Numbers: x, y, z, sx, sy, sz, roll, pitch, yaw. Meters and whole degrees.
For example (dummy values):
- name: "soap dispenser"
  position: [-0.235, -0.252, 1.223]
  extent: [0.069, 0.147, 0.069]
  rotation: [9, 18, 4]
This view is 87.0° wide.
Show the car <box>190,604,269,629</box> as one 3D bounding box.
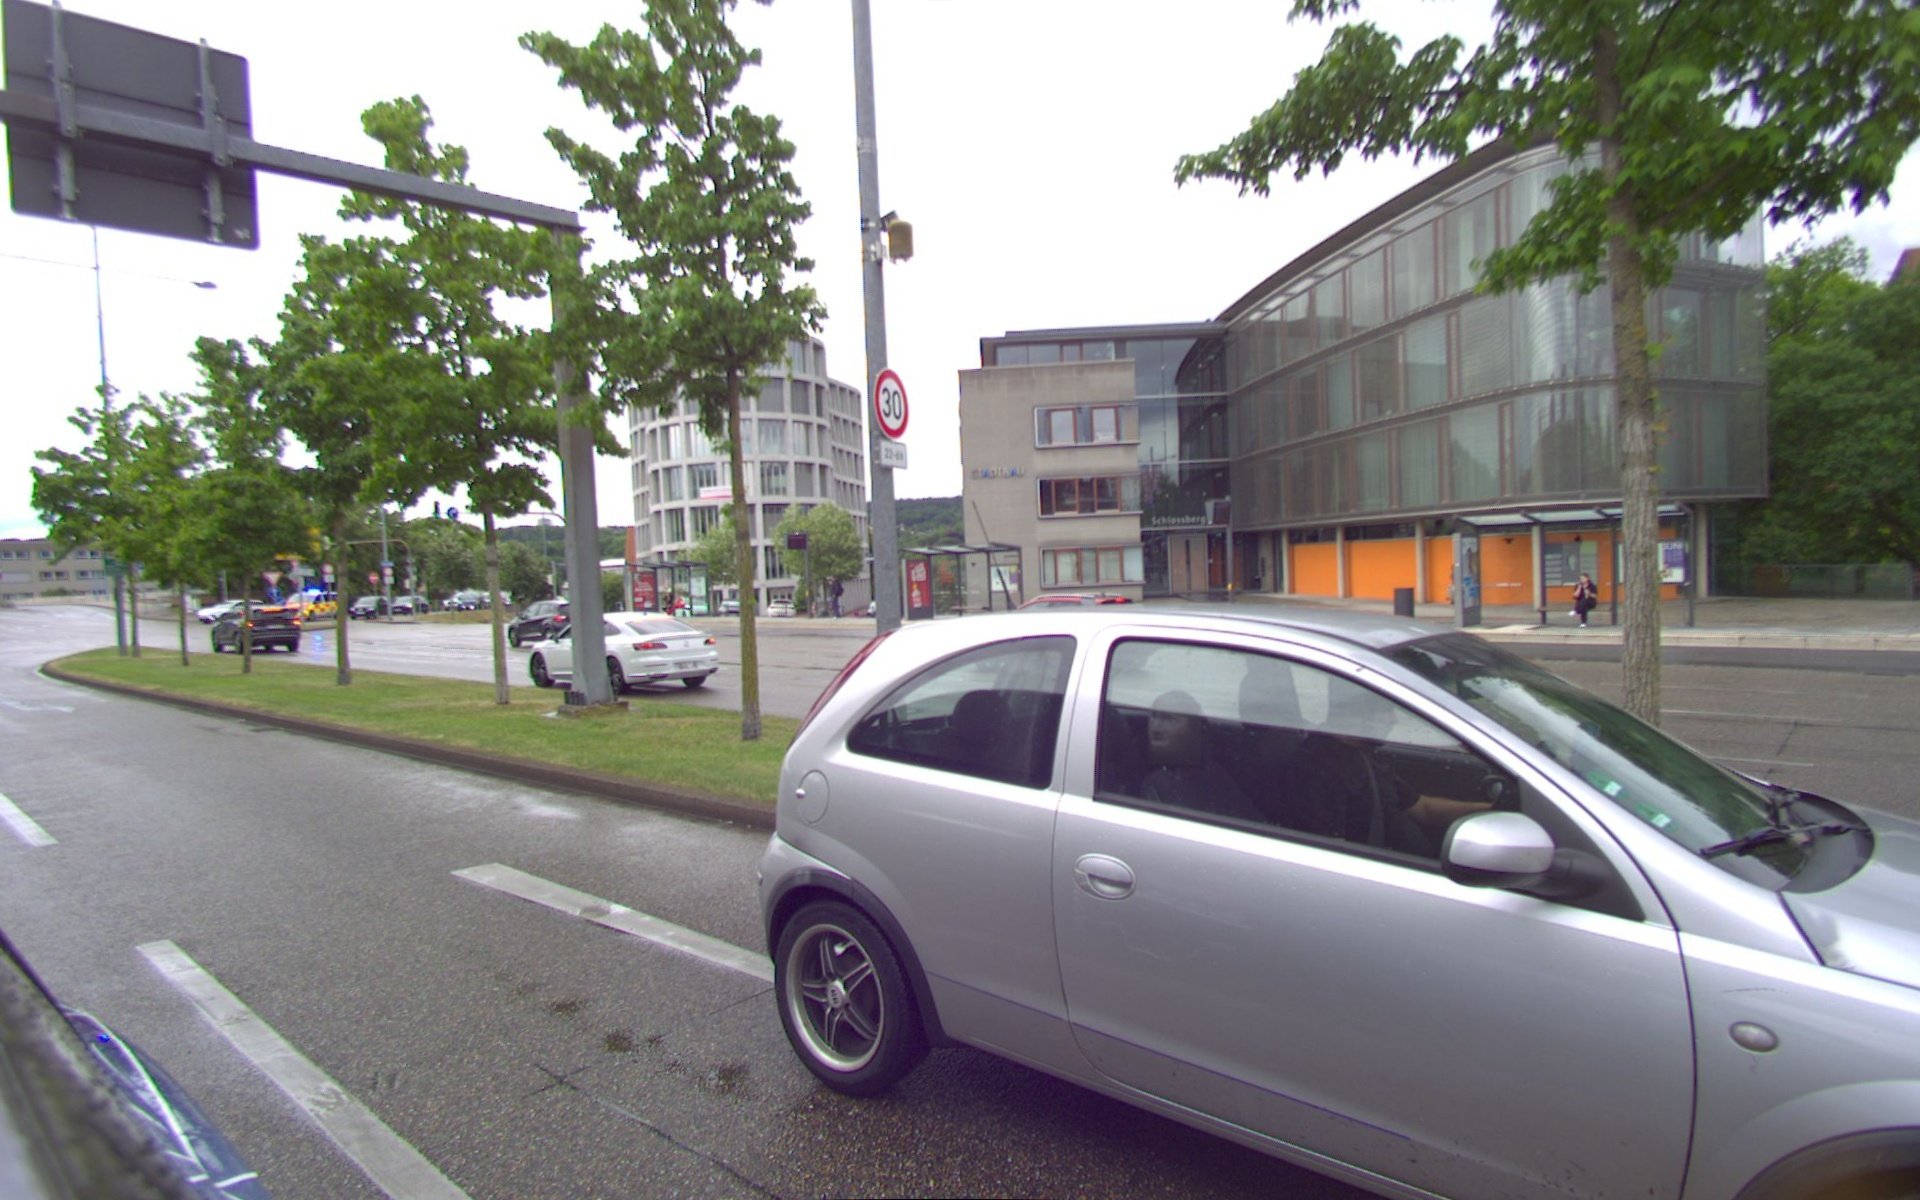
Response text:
- name: "car"
  position: [-48.874, 1.108, 67.822]
  extent: [1.797, 1.571, 4.027]
  rotation: [-1, 0, 17]

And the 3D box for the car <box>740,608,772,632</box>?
- name: "car"
  position: [-15.527, 1.519, 77.256]
  extent: [1.849, 1.715, 4.161]
  rotation: [-1, 0, -4]

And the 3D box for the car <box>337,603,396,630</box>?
- name: "car"
  position: [-40.799, 1.101, 69.671]
  extent: [1.849, 1.715, 4.161]
  rotation: [-1, 0, -4]

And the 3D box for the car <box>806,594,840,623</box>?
- name: "car"
  position: [-8.576, 0.504, 63.524]
  extent: [1.849, 1.715, 4.161]
  rotation: [-1, 0, -4]

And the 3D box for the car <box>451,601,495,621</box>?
- name: "car"
  position: [-40.558, 0.888, 84.422]
  extent: [1.849, 1.646, 4.160]
  rotation: [-1, 0, -3]

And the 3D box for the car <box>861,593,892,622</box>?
- name: "car"
  position: [-5.228, 0.460, 63.420]
  extent: [1.849, 1.715, 4.161]
  rotation: [-1, 0, -4]

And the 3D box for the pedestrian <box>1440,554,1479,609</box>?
- name: "pedestrian"
  position: [16.427, -0.593, 33.282]
  extent: [0.772, 1.769, 0.828]
  rotation: [-1, 0, -20]

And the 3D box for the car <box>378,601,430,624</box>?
- name: "car"
  position: [-42.357, 0.948, 77.247]
  extent: [1.849, 1.715, 4.160]
  rotation: [-1, 0, -3]

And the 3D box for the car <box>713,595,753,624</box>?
- name: "car"
  position: [-14.052, 0.577, 62.828]
  extent: [1.849, 1.715, 4.161]
  rotation: [-1, 0, -4]

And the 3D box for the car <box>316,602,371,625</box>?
- name: "car"
  position: [-47.812, 1.019, 78.569]
  extent: [1.849, 1.715, 4.160]
  rotation: [-1, 0, -3]

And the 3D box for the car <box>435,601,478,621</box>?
- name: "car"
  position: [-44.677, 0.941, 89.831]
  extent: [1.849, 1.646, 4.304]
  rotation: [-1, 0, -3]

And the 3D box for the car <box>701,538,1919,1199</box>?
- name: "car"
  position: [1.149, 0.655, 2.628]
  extent: [3.717, 1.477, 1.677]
  rotation: [-1, 0, 40]

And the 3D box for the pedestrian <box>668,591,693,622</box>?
- name: "pedestrian"
  position: [-13.779, 0.327, 49.901]
  extent: [0.969, 1.501, 0.735]
  rotation: [-1, 0, -39]

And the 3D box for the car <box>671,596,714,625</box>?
- name: "car"
  position: [-16.529, 0.609, 62.755]
  extent: [1.849, 1.715, 4.161]
  rotation: [-1, 0, -4]

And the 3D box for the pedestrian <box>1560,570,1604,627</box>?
- name: "pedestrian"
  position: [14.463, -0.039, 23.530]
  extent: [0.659, 1.309, 0.720]
  rotation: [-1, 0, -44]

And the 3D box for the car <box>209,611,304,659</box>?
- name: "car"
  position: [-24.999, 1.180, 35.900]
  extent: [4.165, 1.566, 1.983]
  rotation: [-1, 0, 44]

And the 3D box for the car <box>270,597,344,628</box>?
- name: "car"
  position: [-43.893, 0.813, 68.147]
  extent: [1.970, 2.029, 5.066]
  rotation: [-1, 0, -4]

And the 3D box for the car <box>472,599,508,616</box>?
- name: "car"
  position: [-46.726, 0.708, 100.653]
  extent: [1.849, 1.646, 4.160]
  rotation: [-1, 0, -3]

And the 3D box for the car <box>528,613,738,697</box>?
- name: "car"
  position: [-6.212, 0.941, 18.985]
  extent: [4.165, 1.363, 1.983]
  rotation: [-1, 0, 43]

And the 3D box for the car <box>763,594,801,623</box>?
- name: "car"
  position: [-11.046, 0.523, 63.049]
  extent: [1.849, 1.714, 4.161]
  rotation: [-1, 0, -4]

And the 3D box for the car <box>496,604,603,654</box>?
- name: "car"
  position: [-13.892, 0.939, 34.156]
  extent: [4.003, 1.566, 1.859]
  rotation: [0, 0, 44]

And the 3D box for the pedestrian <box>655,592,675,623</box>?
- name: "pedestrian"
  position: [-14.713, 0.375, 50.503]
  extent: [0.722, 1.501, 0.735]
  rotation: [-1, 0, -41]

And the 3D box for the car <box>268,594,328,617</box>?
- name: "car"
  position: [-49.905, 0.415, 76.409]
  extent: [1.850, 1.646, 4.158]
  rotation: [-1, 0, -1]

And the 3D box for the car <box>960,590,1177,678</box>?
- name: "car"
  position: [2.079, 0.617, 20.106]
  extent: [4.003, 1.566, 1.859]
  rotation: [-1, 0, 44]
